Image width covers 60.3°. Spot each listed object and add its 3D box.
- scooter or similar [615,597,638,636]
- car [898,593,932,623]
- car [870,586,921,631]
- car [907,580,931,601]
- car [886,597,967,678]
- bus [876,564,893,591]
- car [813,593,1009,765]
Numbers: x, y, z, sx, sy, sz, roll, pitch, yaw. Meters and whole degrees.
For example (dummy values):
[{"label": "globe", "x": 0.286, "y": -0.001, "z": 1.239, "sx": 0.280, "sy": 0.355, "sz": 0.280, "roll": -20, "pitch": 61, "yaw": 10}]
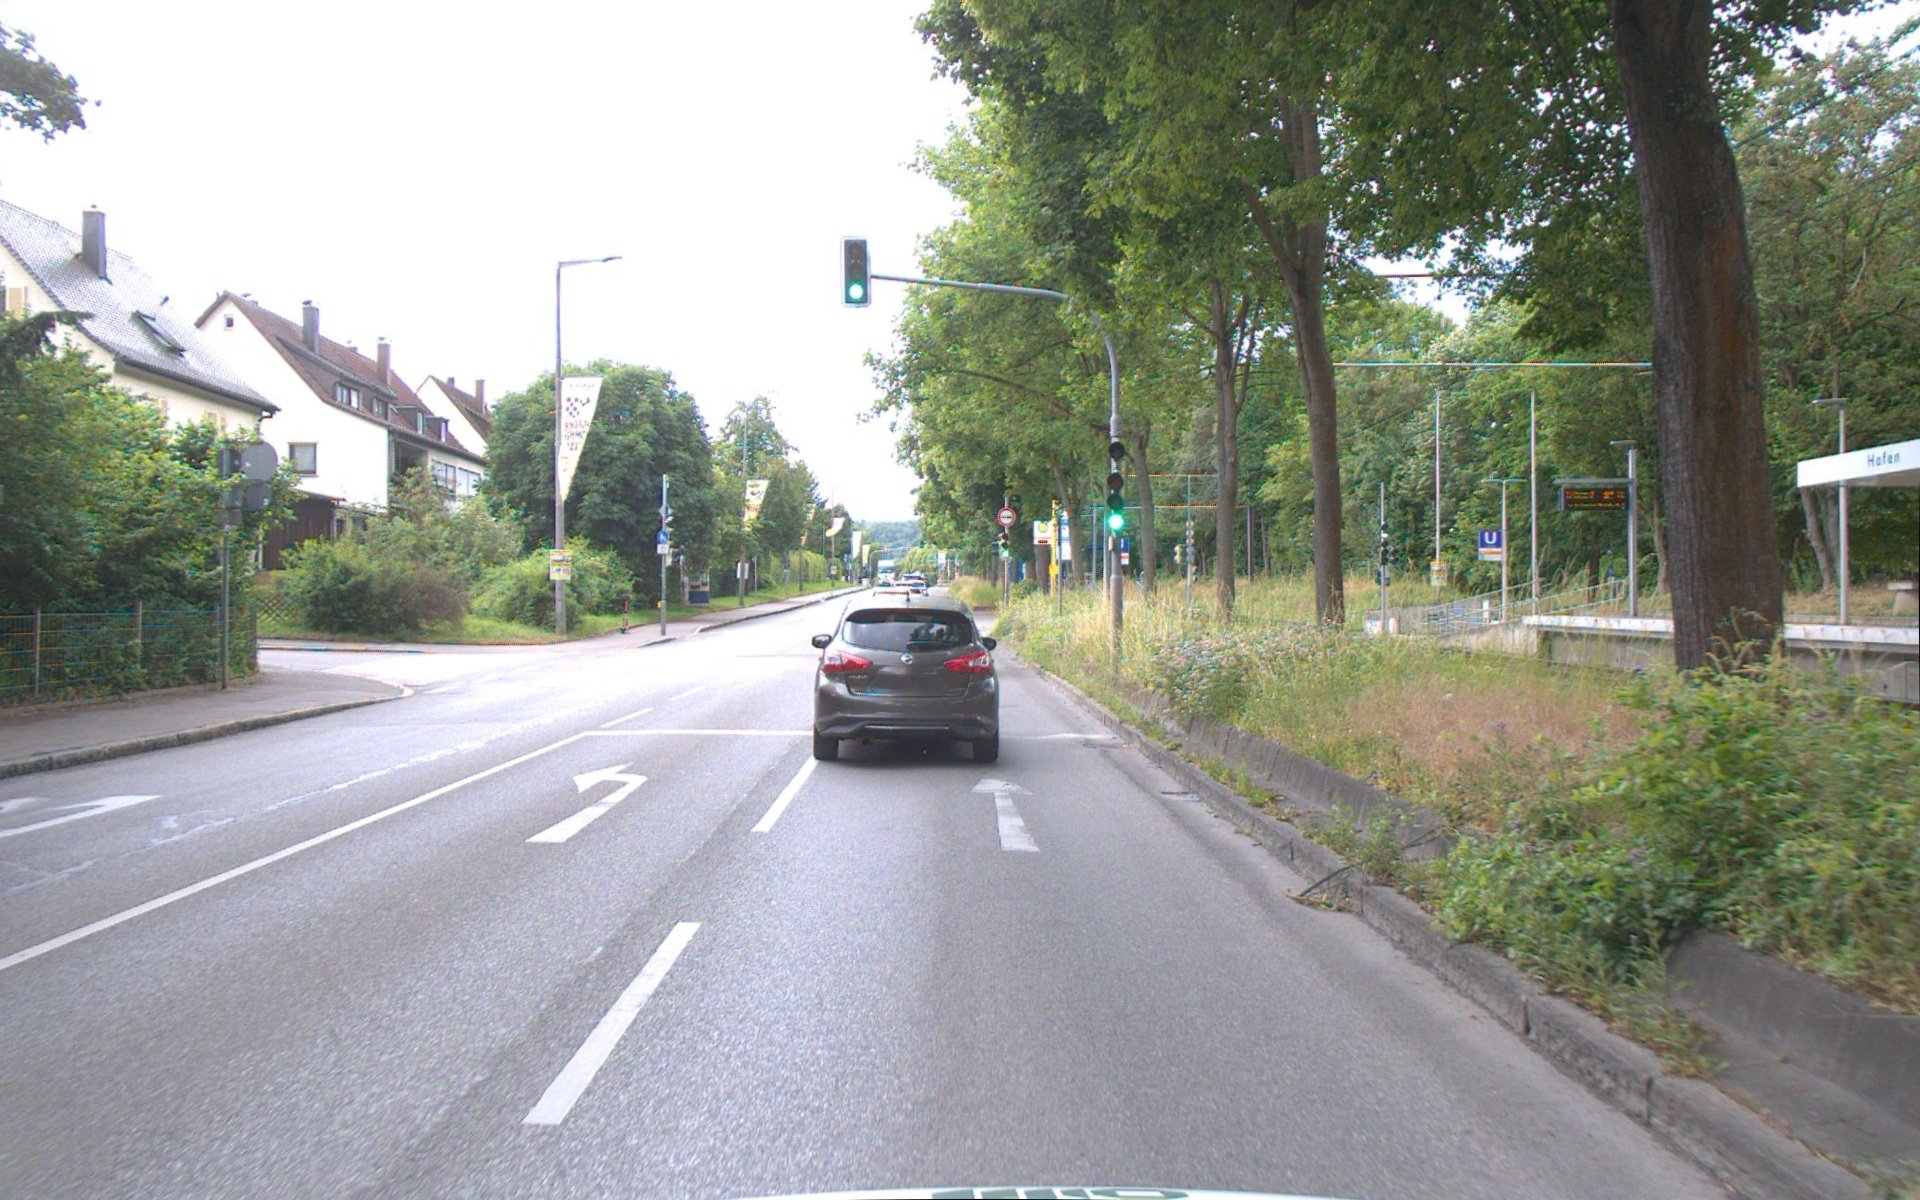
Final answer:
[{"label": "scooter or similar", "x": -11.040, "y": 0.530, "z": 54.822, "sx": 0.453, "sy": 1.281, "sz": 1.426, "roll": 0, "pitch": 0, "yaw": 0}, {"label": "car", "x": -2.262, "y": 0.411, "z": 83.730, "sx": 1.657, "sy": 1.466, "sz": 3.540, "roll": 0, "pitch": 0, "yaw": -1}, {"label": "car", "x": -2.137, "y": 0.270, "z": 55.641, "sx": 1.657, "sy": 1.466, "sz": 3.540, "roll": 0, "pitch": 0, "yaw": -1}, {"label": "car", "x": -2.881, "y": -0.653, "z": 115.477, "sx": 1.657, "sy": 1.466, "sz": 3.540, "roll": 0, "pitch": 0, "yaw": -1}, {"label": "car", "x": -0.660, "y": 0.681, "z": 32.240, "sx": 1.471, "sy": 1.466, "sz": 3.540, "roll": 0, "pitch": 0, "yaw": -1}, {"label": "bus", "x": -11.675, "y": -3.462, "z": 256.022, "sx": 2.437, "sy": 4.096, "sz": 10.215, "roll": 0, "pitch": 1, "yaw": -1}, {"label": "car", "x": -0.461, "y": 0.704, "z": 16.596, "sx": 1.747, "sy": 1.533, "sz": 3.695, "roll": 0, "pitch": 0, "yaw": -1}]
